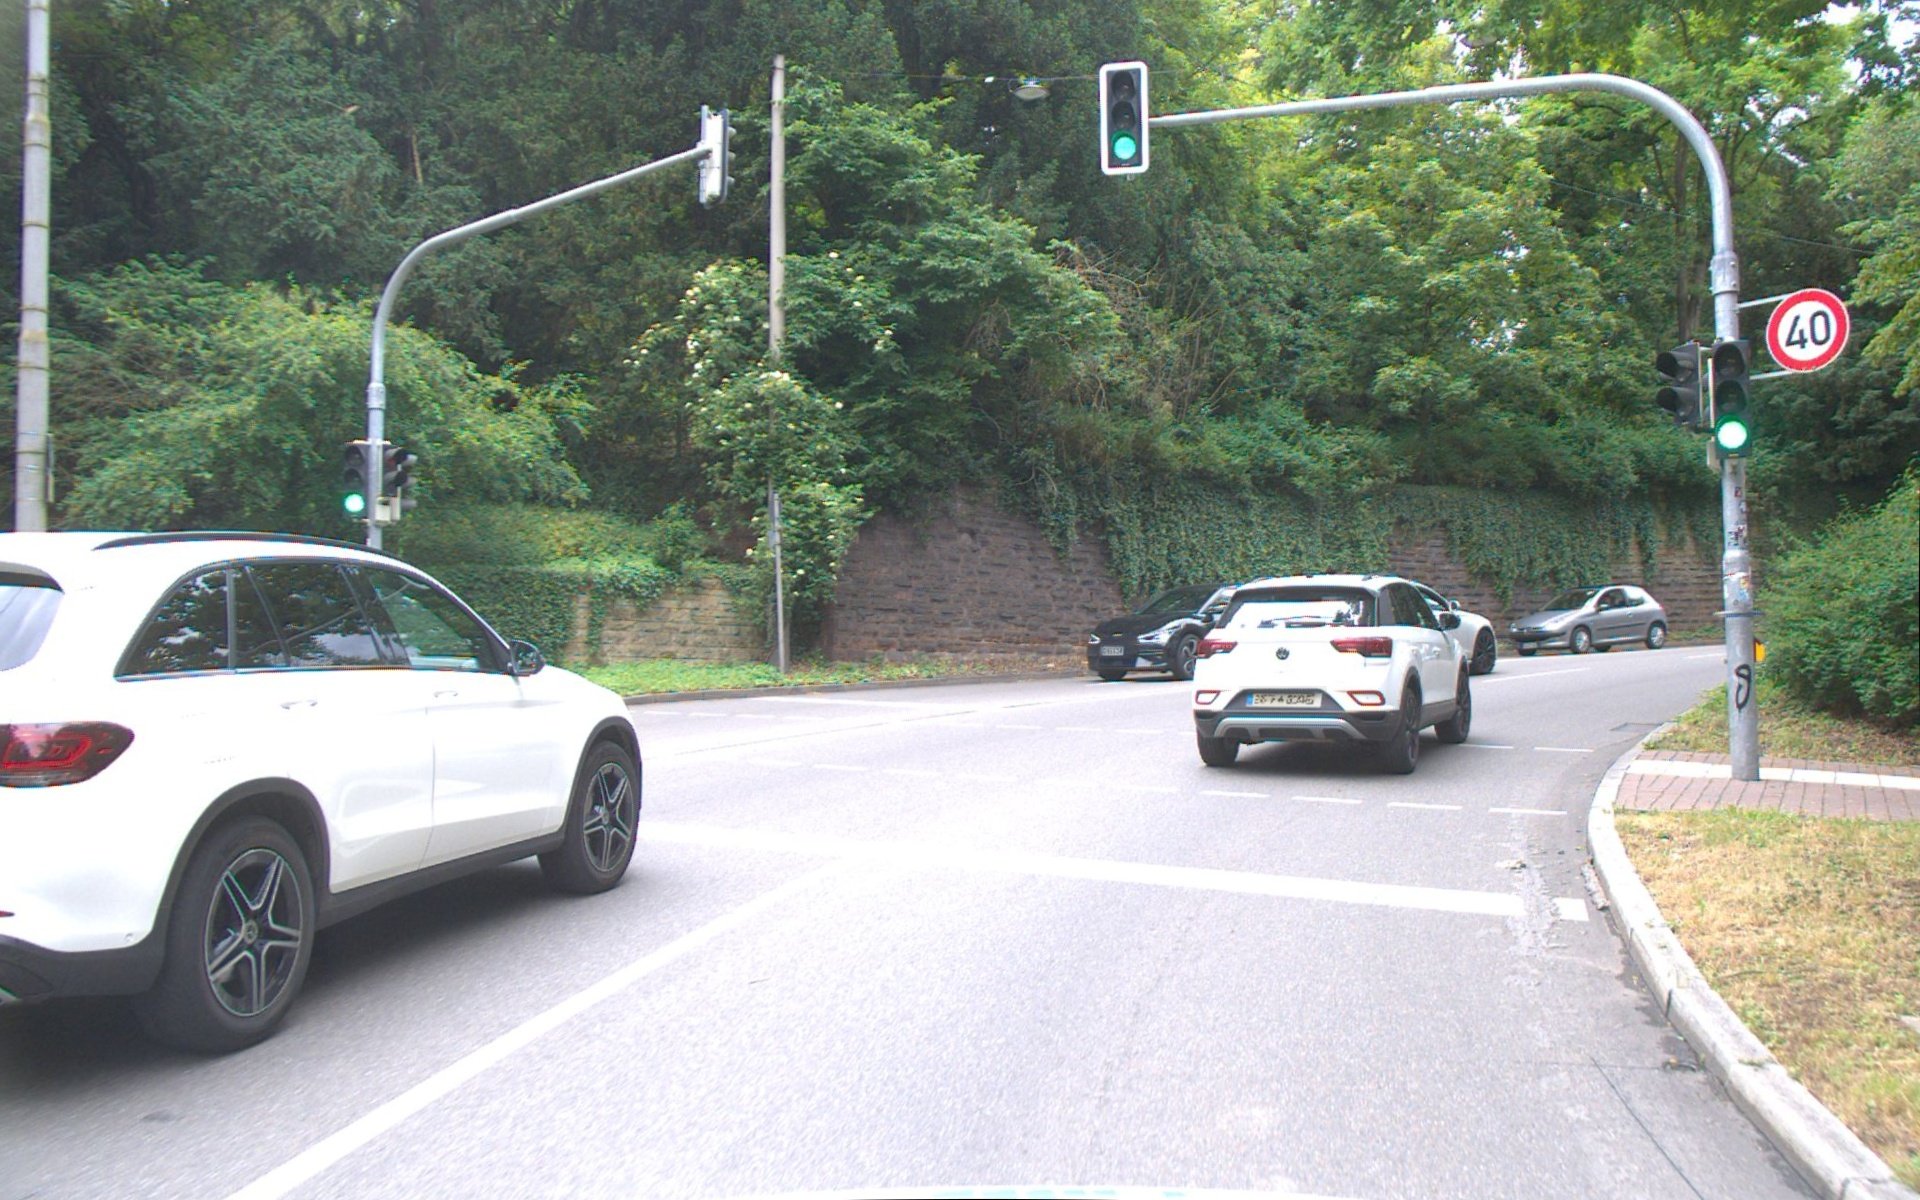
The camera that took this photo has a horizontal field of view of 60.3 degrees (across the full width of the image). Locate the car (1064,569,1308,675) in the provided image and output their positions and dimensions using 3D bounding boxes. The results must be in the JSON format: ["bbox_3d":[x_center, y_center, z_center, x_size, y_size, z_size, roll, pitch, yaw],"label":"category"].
[{"bbox_3d":[3.827,0.332,27.572,4.362,1.570,1.610,-2,0,-43],"label":"car"}]

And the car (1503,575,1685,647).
[{"bbox_3d":[13.726,0.224,35.796,3.697,1.443,1.598,-1,-1,-27],"label":"car"}]

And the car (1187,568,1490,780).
[{"bbox_3d":[3.504,0.518,14.684,1.720,1.580,4.334,0,1,26],"label":"car"}]

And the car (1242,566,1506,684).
[{"bbox_3d":[6.176,0.278,24.304,1.837,1.560,4.749,1,1,41],"label":"car"}]

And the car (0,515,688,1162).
[{"bbox_3d":[-2.778,0.575,6.643,1.819,1.633,4.675,1,1,11],"label":"car"}]
